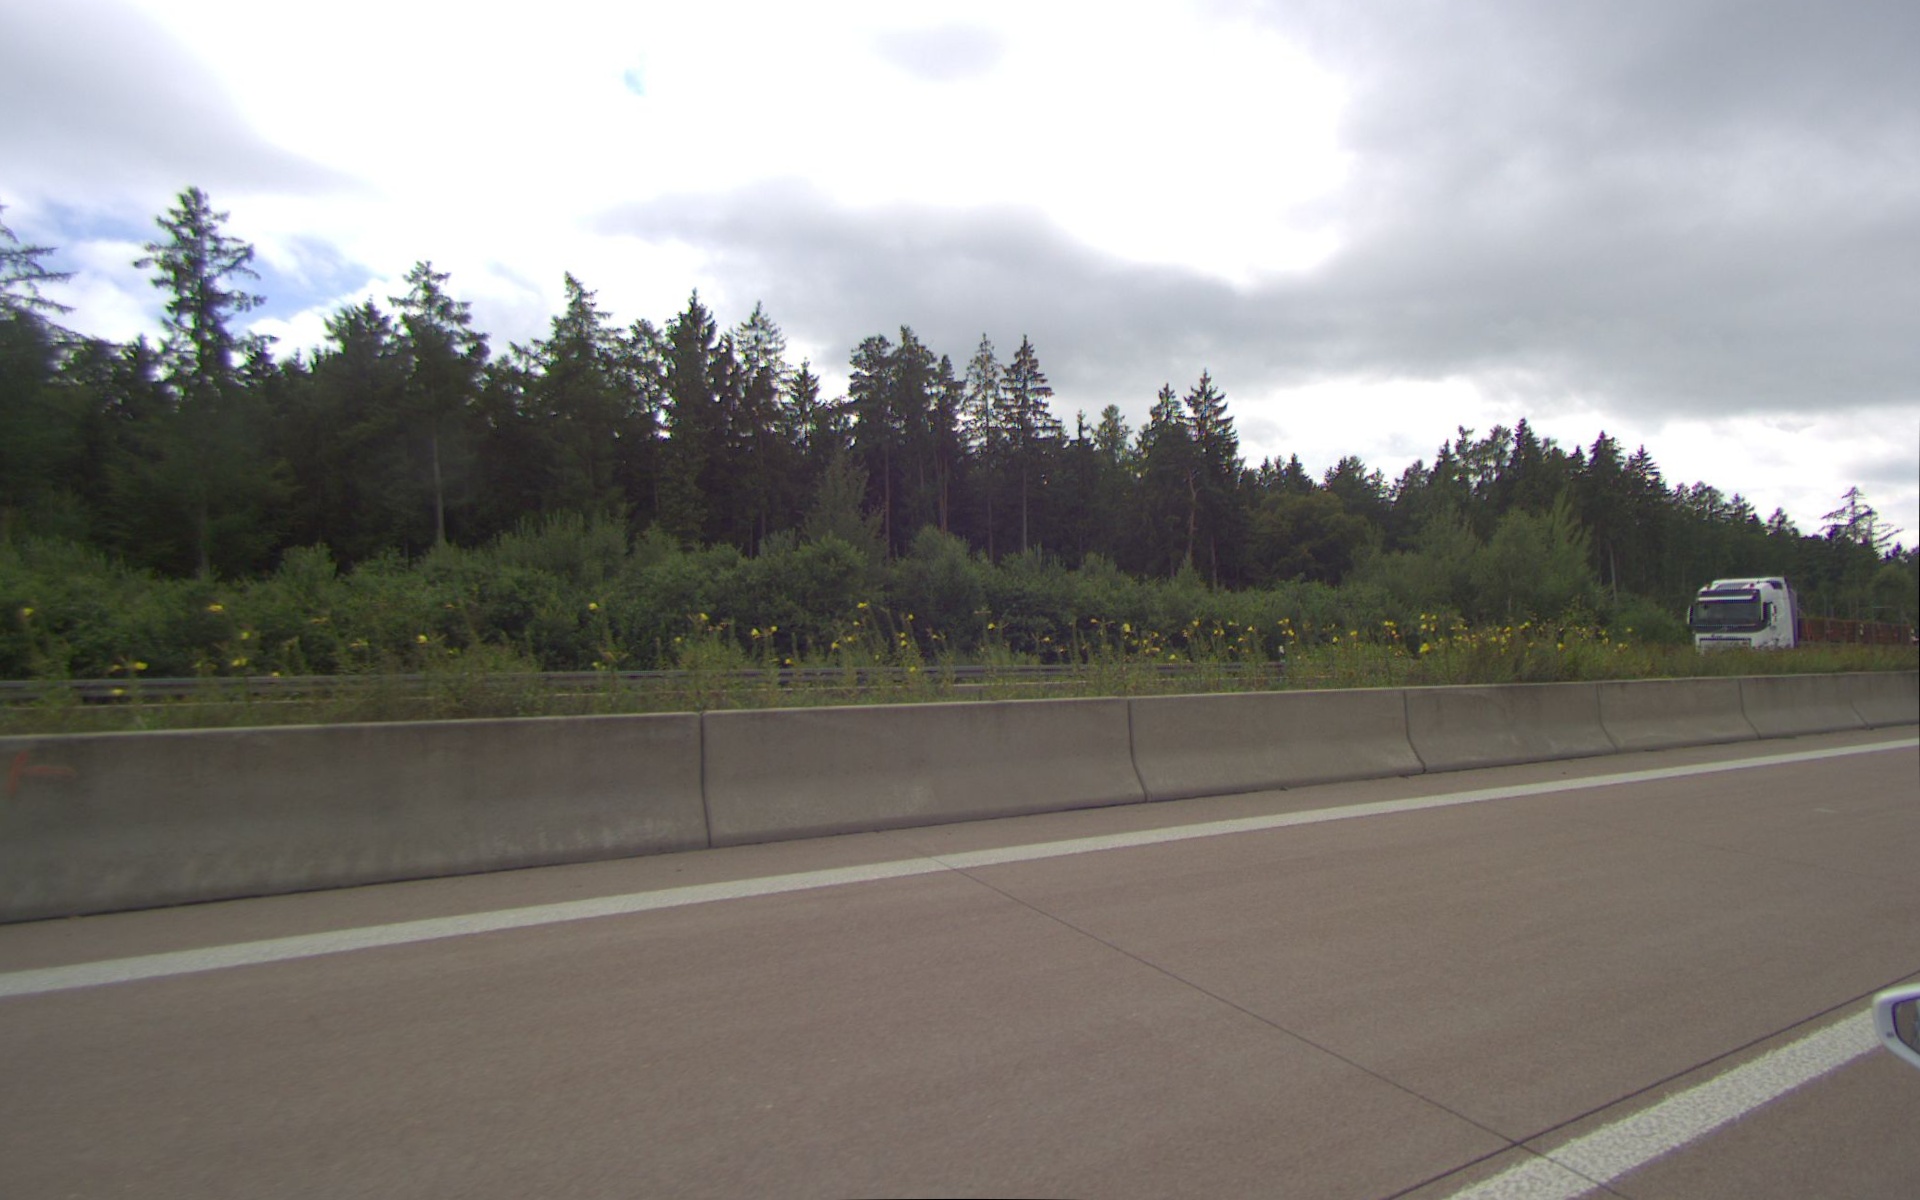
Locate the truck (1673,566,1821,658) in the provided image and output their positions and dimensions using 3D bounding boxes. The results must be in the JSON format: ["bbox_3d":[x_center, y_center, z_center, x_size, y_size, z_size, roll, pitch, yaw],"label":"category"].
[{"bbox_3d":[31.813,0.493,40.591,5.282,3.465,2.920,1,0,-30],"label":"truck"}]

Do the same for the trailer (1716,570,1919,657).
[{"bbox_3d":[38.268,0.653,44.410,13.115,3.465,2.920,1,0,-31],"label":"trailer"}]
